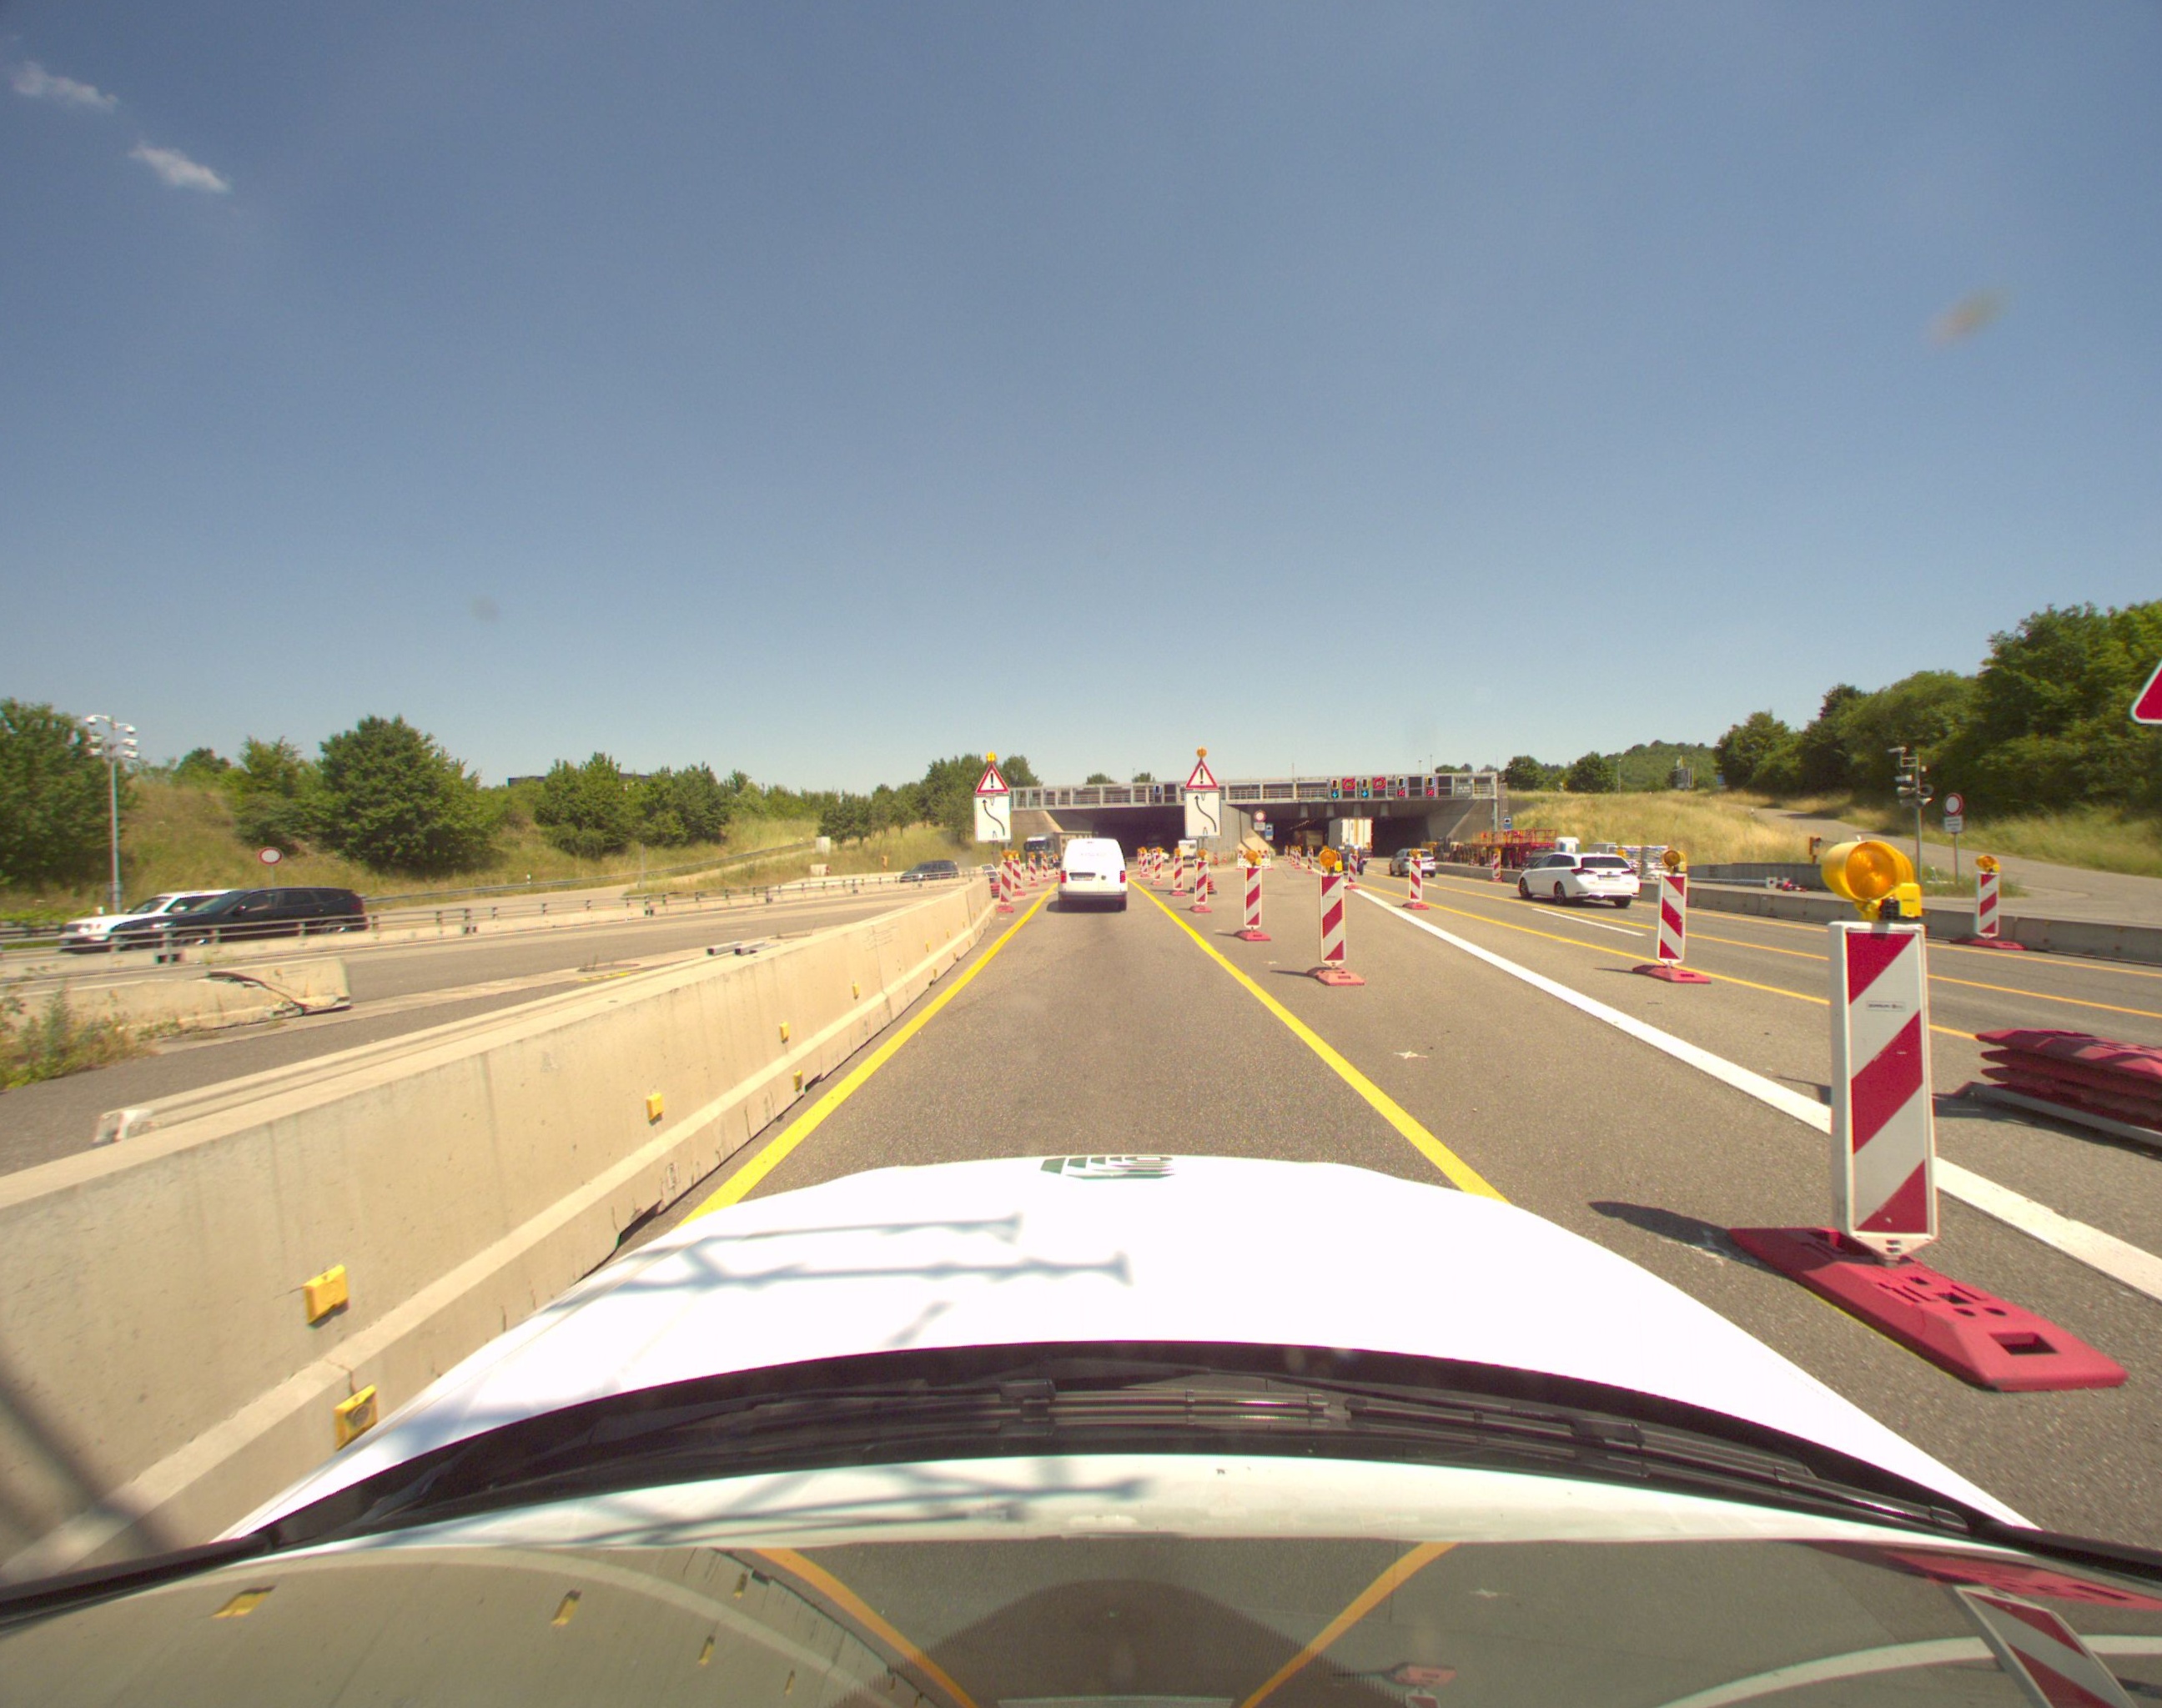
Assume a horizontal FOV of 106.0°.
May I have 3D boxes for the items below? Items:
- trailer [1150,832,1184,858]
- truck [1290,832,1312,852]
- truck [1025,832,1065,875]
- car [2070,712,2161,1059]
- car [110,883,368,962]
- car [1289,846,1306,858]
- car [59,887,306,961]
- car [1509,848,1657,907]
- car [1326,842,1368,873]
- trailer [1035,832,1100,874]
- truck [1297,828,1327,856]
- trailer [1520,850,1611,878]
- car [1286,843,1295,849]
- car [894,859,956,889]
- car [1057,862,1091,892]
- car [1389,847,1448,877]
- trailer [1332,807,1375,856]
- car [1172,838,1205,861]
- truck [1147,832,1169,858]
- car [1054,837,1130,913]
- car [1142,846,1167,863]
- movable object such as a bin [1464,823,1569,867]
[{"bbox_3d":[14.596,-1.471,136.700,2.318,4.102,13.329,-2,0,20],"label":"trailer"},{"bbox_3d":[47.786,-2.489,177.610,3.380,4.071,16.586,1,0,11],"label":"truck"},{"bbox_3d":[-3.664,-0.102,84.070,2.411,4.270,4.863,-2,0,20],"label":"truck"},{"bbox_3d":[8.783,0.229,3.175,2.255,2.536,6.594,0,0,5],"label":"car"},{"bbox_3d":[-21.042,1.619,20.605,1.701,1.623,4.191,-1,0,20],"label":"car"},{"bbox_3d":[28.985,-0.263,109.107,1.805,1.630,4.199,1,0,8],"label":"car"},{"bbox_3d":[-24.353,1.821,22.304,1.701,1.623,4.191,-1,0,20],"label":"car"},{"bbox_3d":[14.102,0.651,23.227,1.805,1.465,4.661,1,-1,7],"label":"car"},{"bbox_3d":[14.836,0.181,45.630,1.802,1.642,4.669,1,0,13],"label":"car"},{"bbox_3d":[-1.283,-0.184,90.751,2.415,4.296,13.878,-2,0,20],"label":"trailer"},{"bbox_3d":[39.220,-1.868,138.730,3.380,4.335,16.585,1,-1,11],"label":"truck"},{"bbox_3d":[30.260,0.577,51.145,2.581,1.569,6.248,-2,0,7],"label":"trailer"},{"bbox_3d":[64.057,-2.510,248.924,2.317,1.838,4.557,1,0,11],"label":"car"},{"bbox_3d":[-9.622,1.218,50.627,1.683,1.730,4.474,-1,0,20],"label":"car"},{"bbox_3d":[-0.385,1.263,46.409,1.803,1.537,4.408,-2,0,-1],"label":"car"},{"bbox_3d":[17.773,0.401,43.097,1.804,1.464,4.664,1,0,9],"label":"car"},{"bbox_3d":[24.884,-1.834,75.046,2.713,4.062,14.149,1,0,14],"label":"trailer"},{"bbox_3d":[13.802,-0.527,104.074,2.791,2.773,7.134,0,-1,19],"label":"car"},{"bbox_3d":[12.402,-1.414,130.699,2.314,4.108,5.042,-2,0,20],"label":"truck"},{"bbox_3d":[0.329,0.516,21.567,1.802,1.794,3.733,-2,0,2],"label":"car"},{"bbox_3d":[7.809,0.068,86.235,1.795,1.751,4.427,-2,0,15],"label":"car"},{"bbox_3d":[34.549,-0.628,65.494,3.091,3.011,14.745,-2,0,11],"label":"movable object such as a bin"}]
